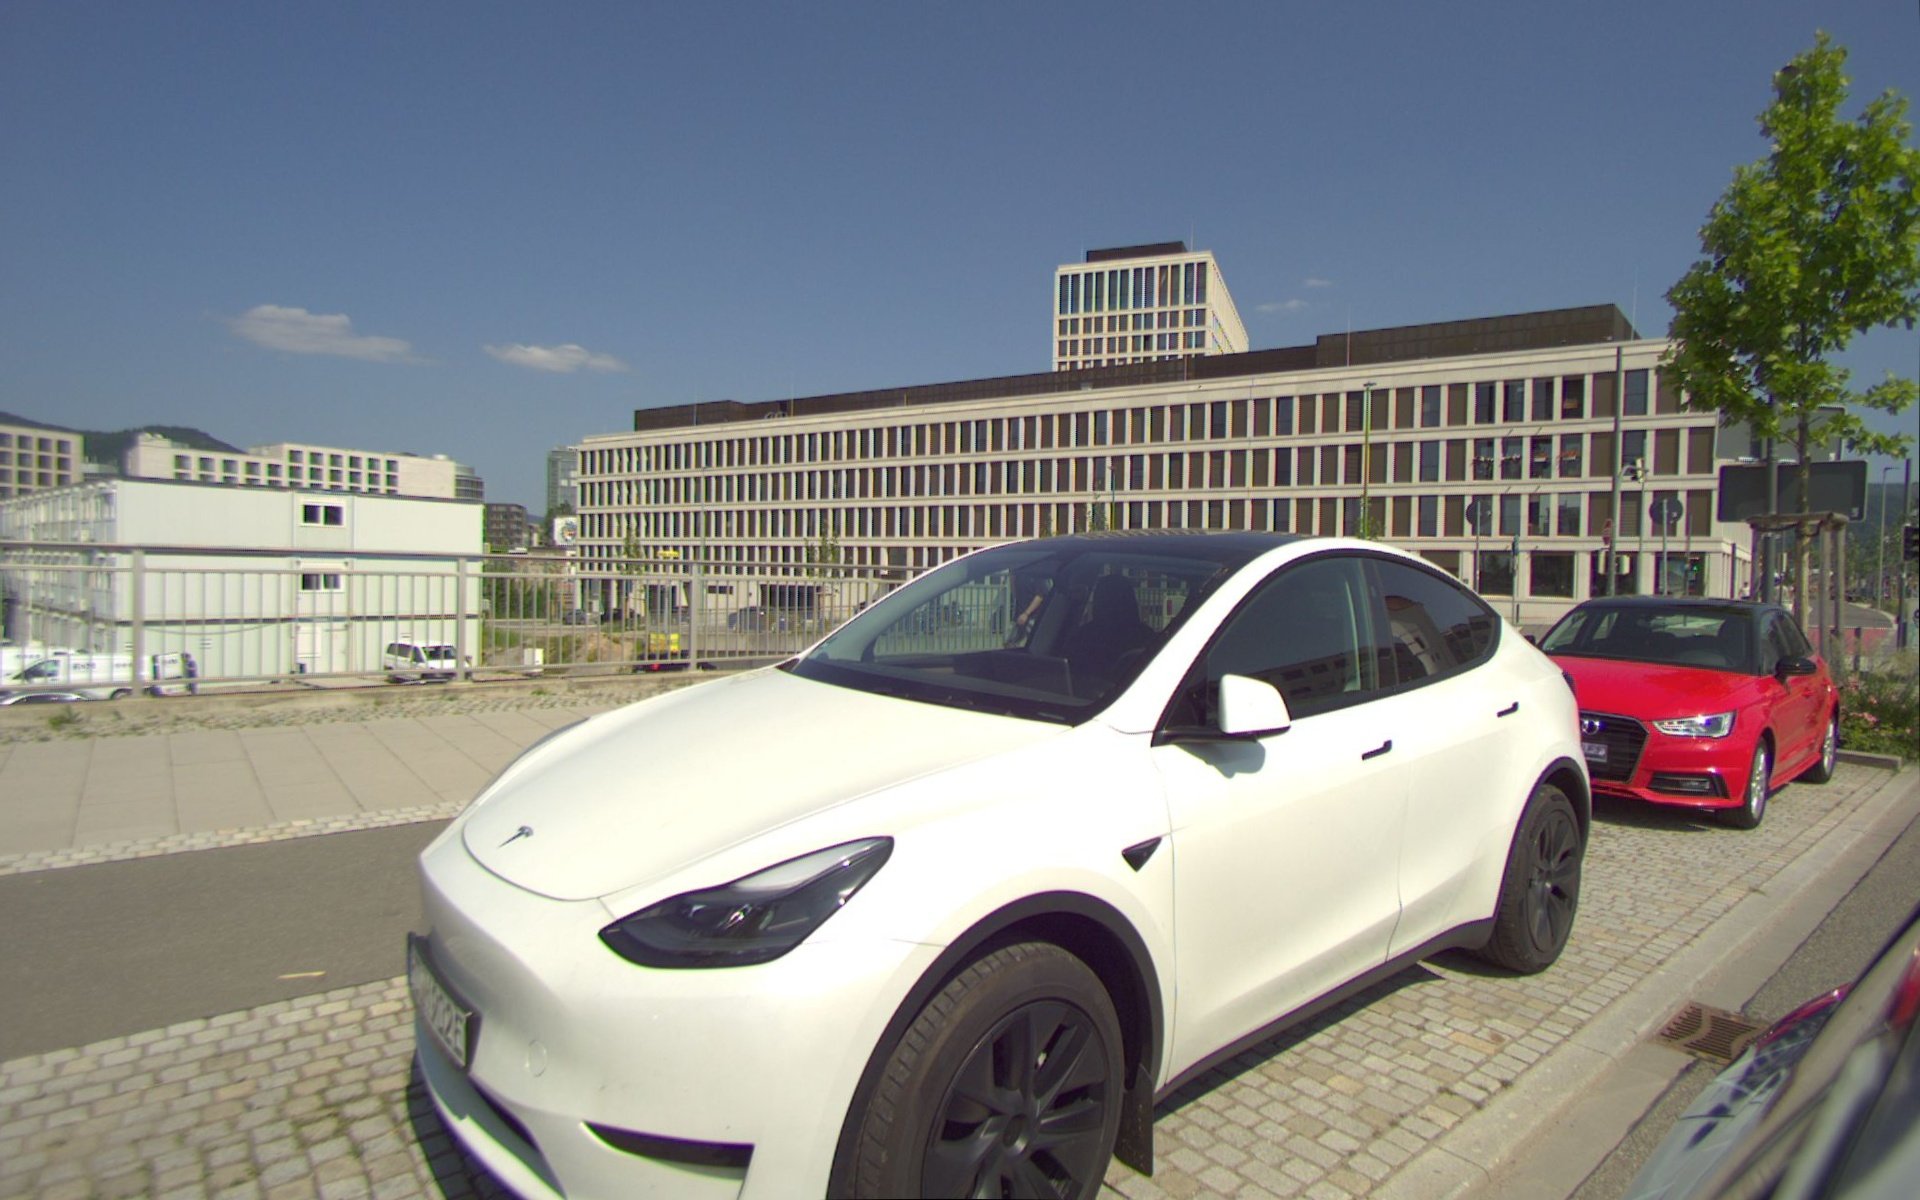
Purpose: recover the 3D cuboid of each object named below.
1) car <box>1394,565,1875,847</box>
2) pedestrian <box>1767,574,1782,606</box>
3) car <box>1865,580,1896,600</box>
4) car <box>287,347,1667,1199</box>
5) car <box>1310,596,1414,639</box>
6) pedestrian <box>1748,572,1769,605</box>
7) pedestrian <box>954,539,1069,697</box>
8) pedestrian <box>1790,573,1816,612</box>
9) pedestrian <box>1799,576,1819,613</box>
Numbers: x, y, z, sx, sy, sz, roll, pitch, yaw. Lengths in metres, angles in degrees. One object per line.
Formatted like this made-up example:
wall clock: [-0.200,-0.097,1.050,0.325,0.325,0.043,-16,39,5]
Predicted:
car: [5.161,0.567,7.566,3.929,1.538,1.997,0,0,-40]
pedestrian: [46.200,-0.584,57.396,0.576,1.740,0.982,4,4,41]
car: [74.933,-0.836,82.409,1.804,1.527,3.942,0,2,41]
car: [0.649,0.503,3.512,4.791,1.648,1.875,0,0,-41]
car: [15.050,0.643,37.946,3.302,1.482,1.460,-1,1,-4]
pedestrian: [45.263,-0.657,57.350,0.824,1.805,0.913,2,3,41]
pedestrian: [0.569,0.176,11.141,0.932,1.628,0.752,0,4,-40]
pedestrian: [40.865,-0.356,49.038,0.877,1.849,1.639,0,0,43]
pedestrian: [41.527,-0.270,49.507,0.700,1.745,0.784,0,0,43]
